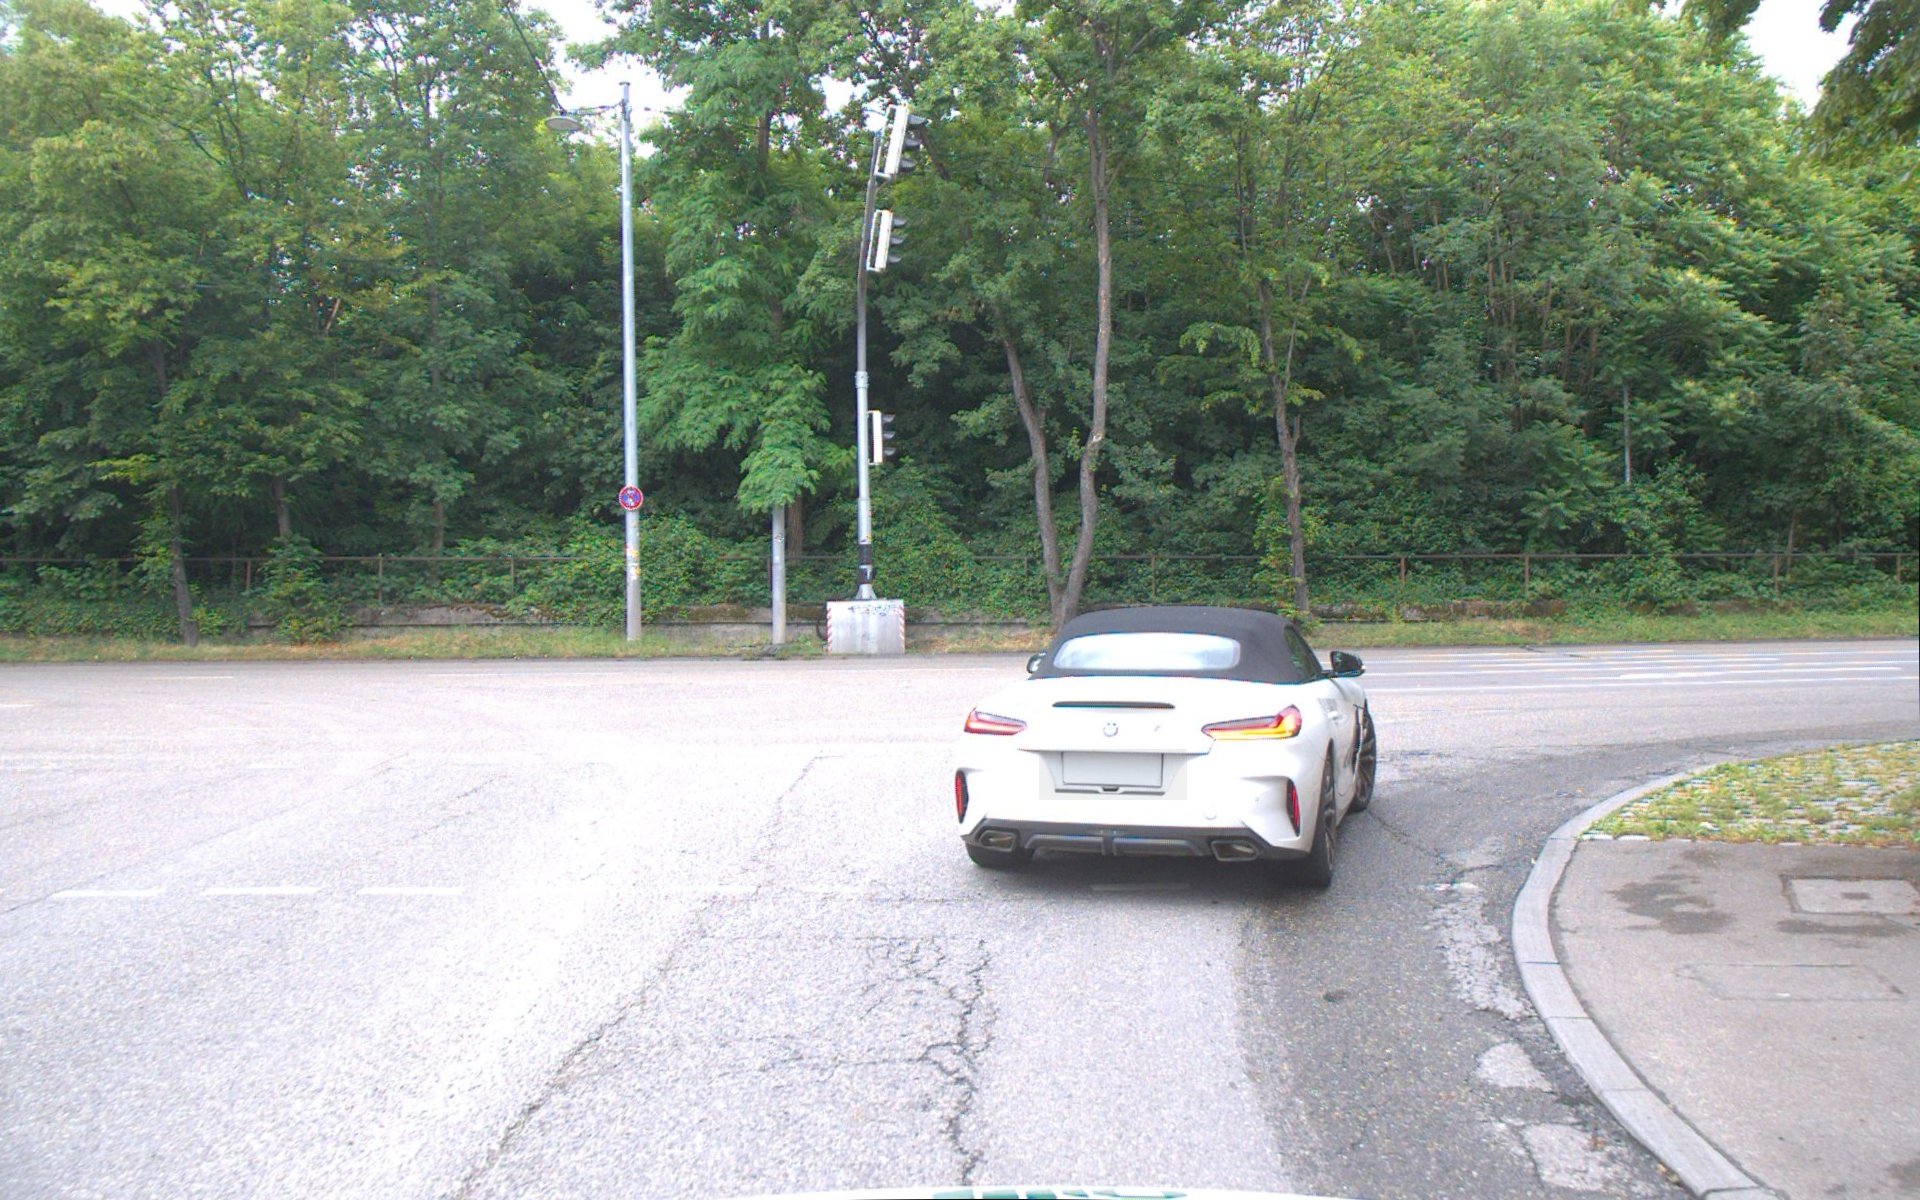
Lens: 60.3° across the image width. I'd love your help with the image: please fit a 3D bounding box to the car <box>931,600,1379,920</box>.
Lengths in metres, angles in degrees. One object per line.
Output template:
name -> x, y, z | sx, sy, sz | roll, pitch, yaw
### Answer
car -> 1.300, 0.697, 9.199 | 1.835, 1.332, 3.875 | -1, 0, 16
